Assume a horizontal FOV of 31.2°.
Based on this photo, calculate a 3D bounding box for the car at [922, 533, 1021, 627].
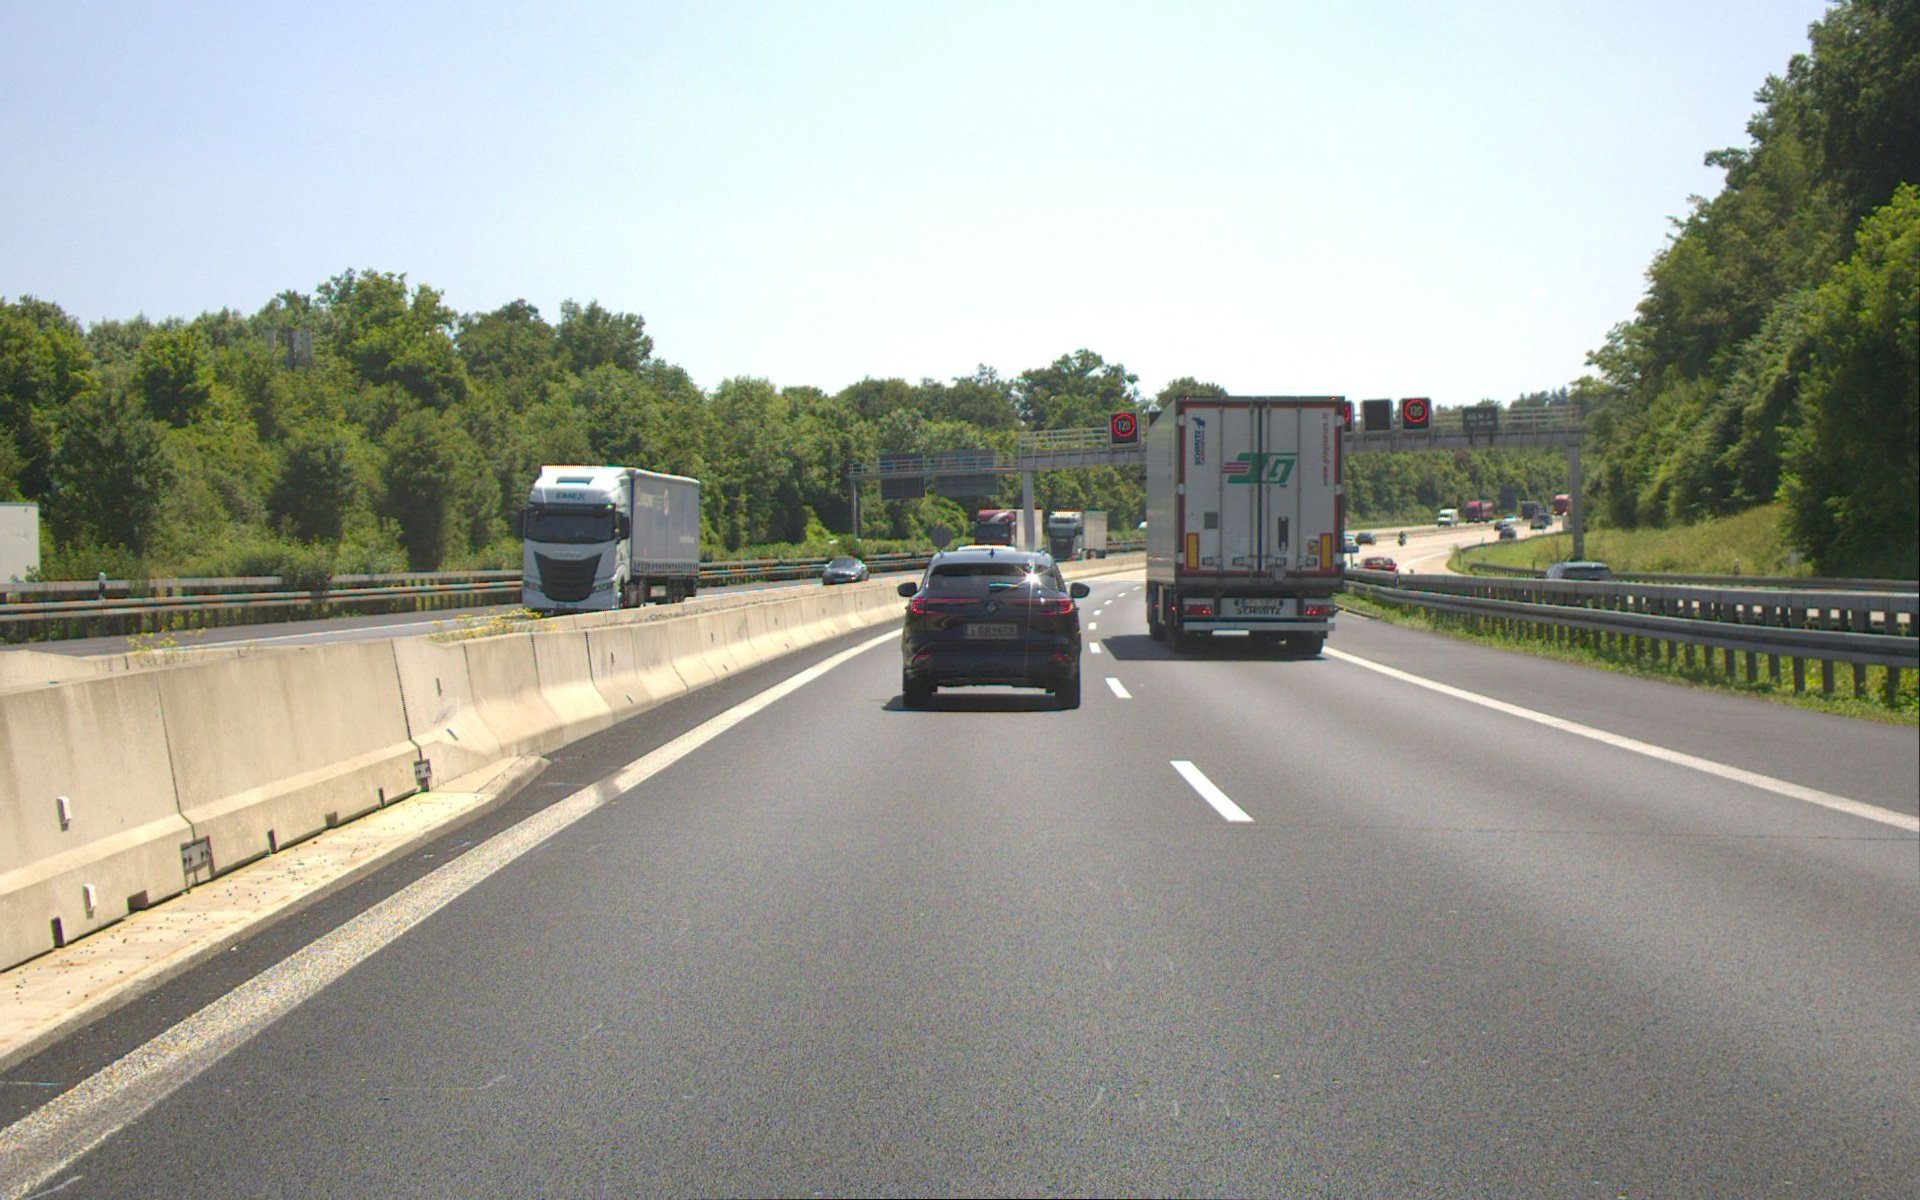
[{"bbox_3d":[0.242,-0.478,79.805,1.993,2.007,4.001,-3,1,-3],"label":"car"}]

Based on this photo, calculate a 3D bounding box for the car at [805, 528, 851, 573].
[{"bbox_3d":[-5.884,-2.207,153.111,1.993,2.007,4.001,0,1,-3],"label":"car"}]

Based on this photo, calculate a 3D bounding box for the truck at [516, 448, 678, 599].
[{"bbox_3d":[-9.990,-2.020,95.753,2.698,3.946,10.775,0,0,4],"label":"truck"}]

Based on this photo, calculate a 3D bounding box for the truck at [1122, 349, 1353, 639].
[{"bbox_3d":[4.503,-1.623,58.300,3.032,4.403,12.018,0,0,1],"label":"truck"}]

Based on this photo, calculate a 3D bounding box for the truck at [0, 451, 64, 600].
[{"bbox_3d":[-26.763,-1.966,90.899,2.698,3.946,10.775,0,0,4],"label":"truck"}]

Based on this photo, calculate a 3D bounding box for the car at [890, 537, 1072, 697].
[{"bbox_3d":[0.249,0.164,35.728,1.779,1.572,4.000,0,0,1],"label":"car"}]
